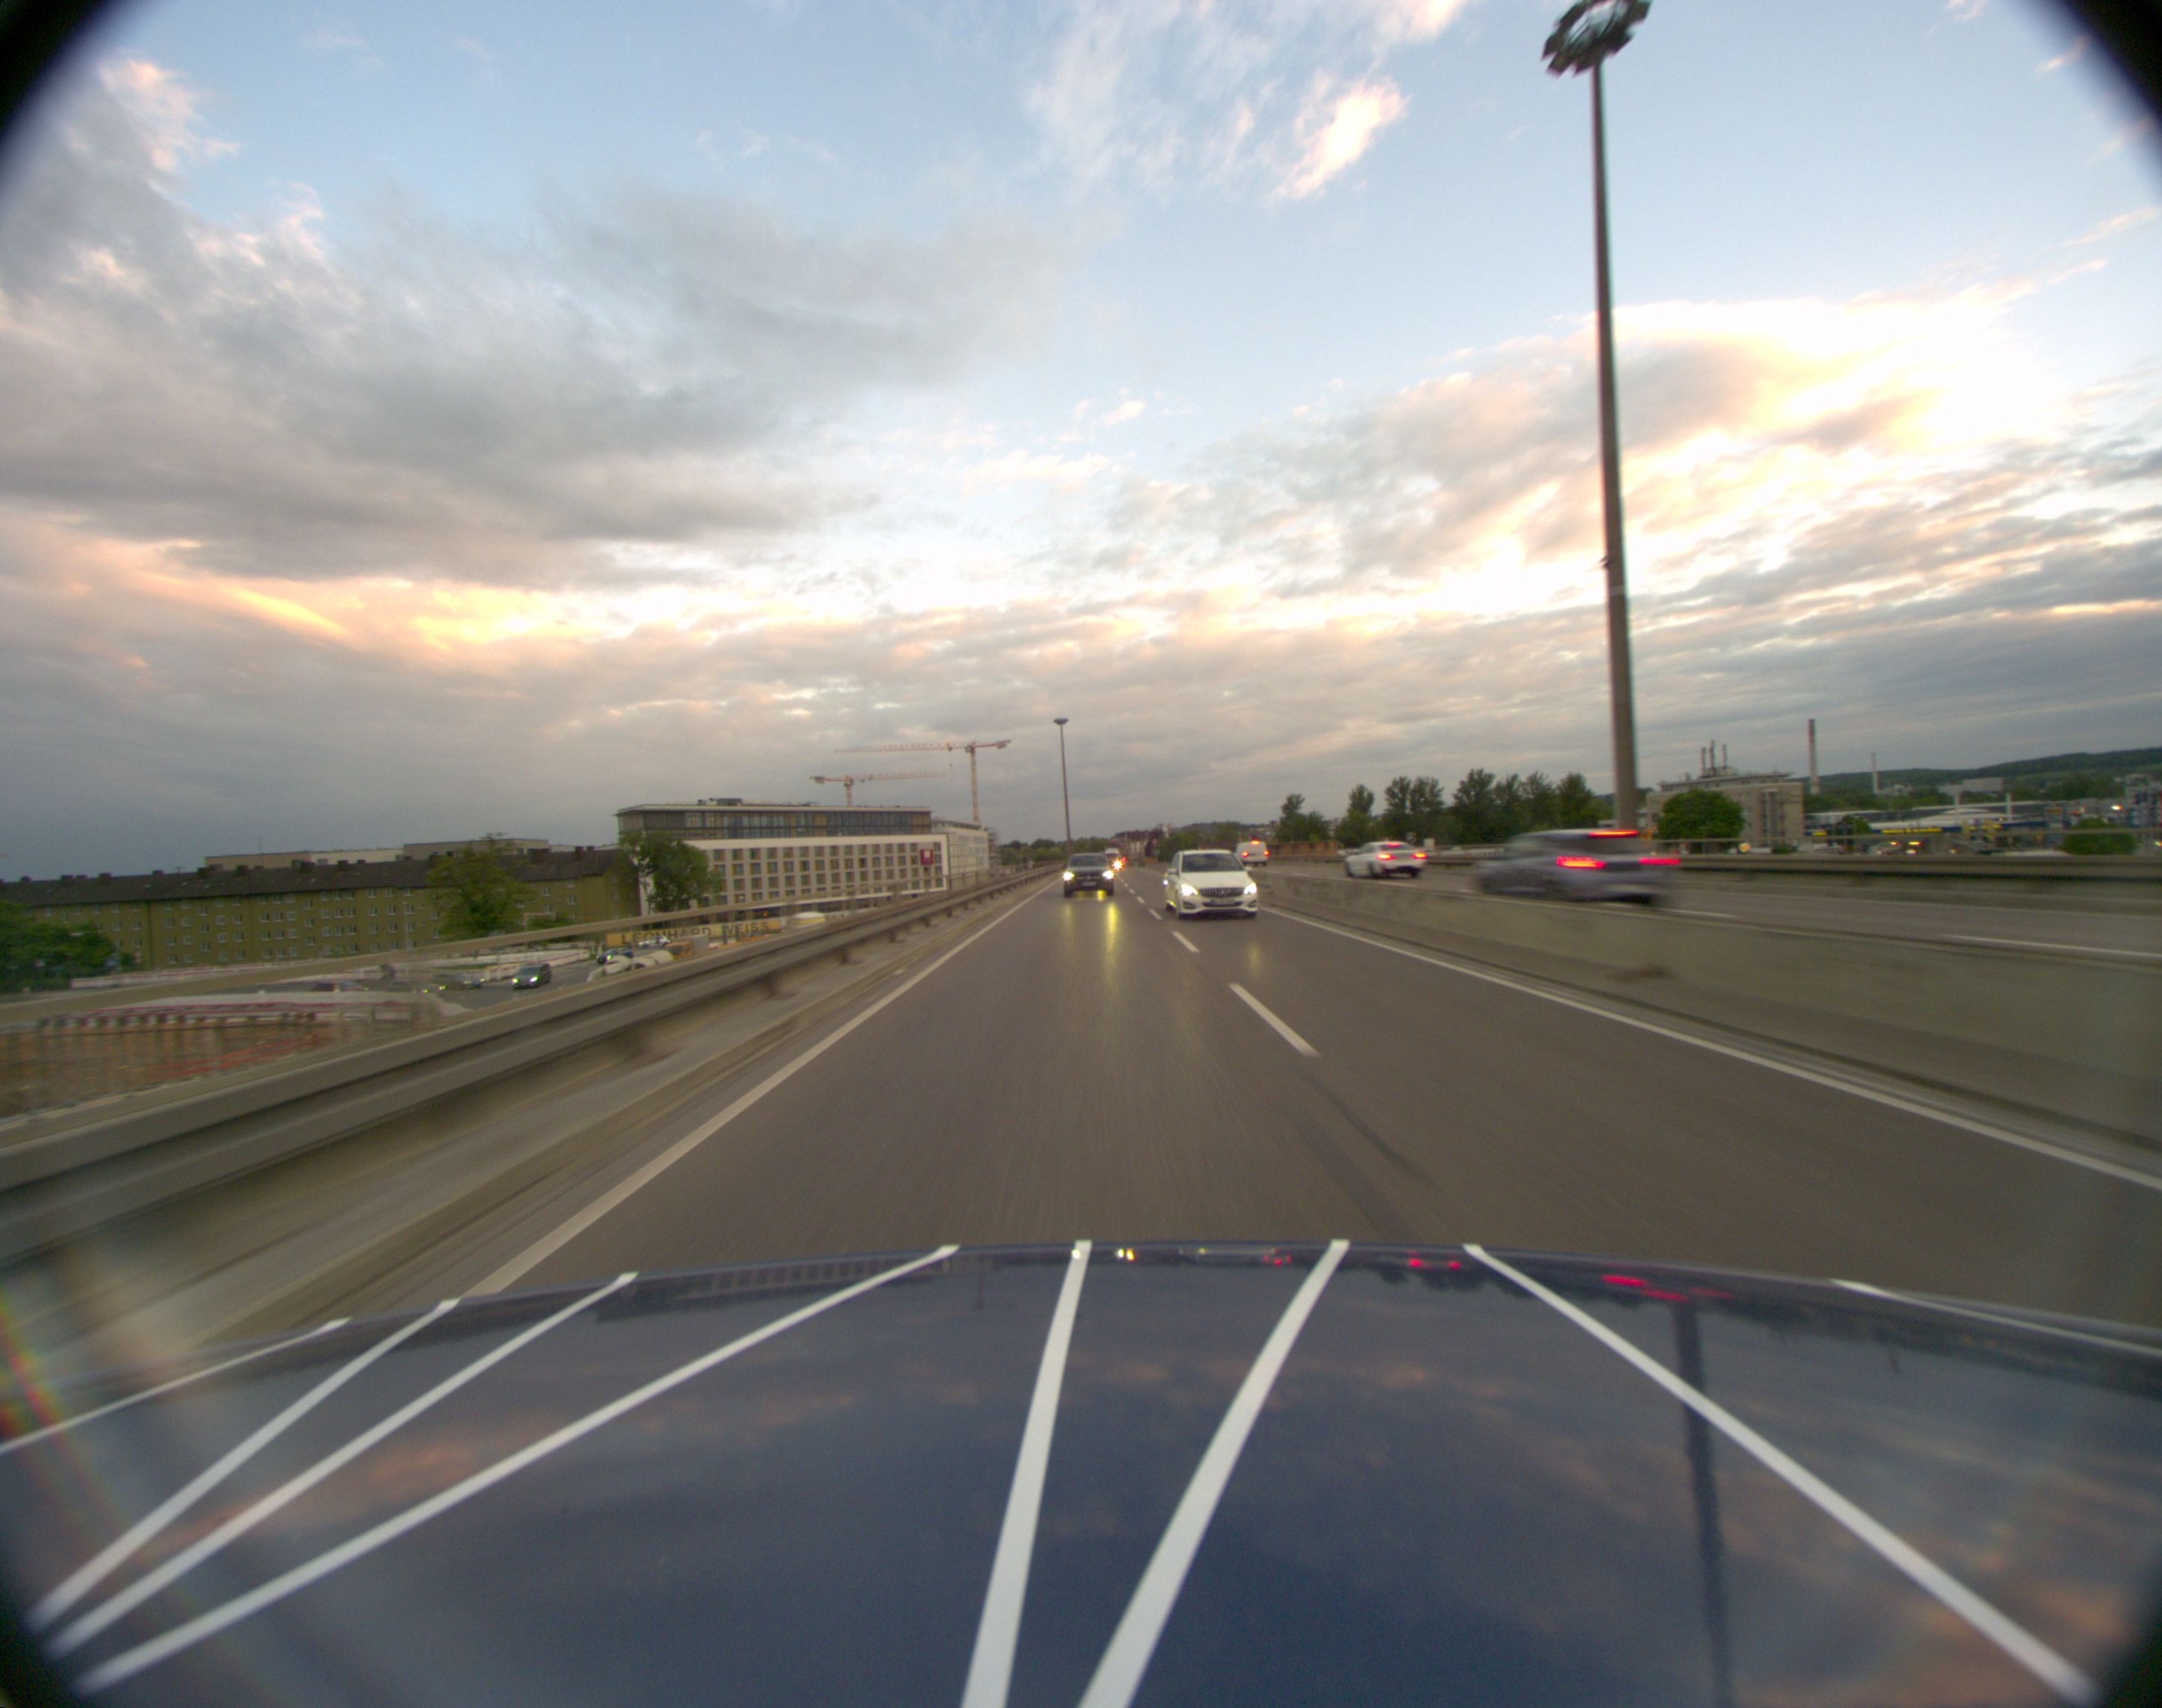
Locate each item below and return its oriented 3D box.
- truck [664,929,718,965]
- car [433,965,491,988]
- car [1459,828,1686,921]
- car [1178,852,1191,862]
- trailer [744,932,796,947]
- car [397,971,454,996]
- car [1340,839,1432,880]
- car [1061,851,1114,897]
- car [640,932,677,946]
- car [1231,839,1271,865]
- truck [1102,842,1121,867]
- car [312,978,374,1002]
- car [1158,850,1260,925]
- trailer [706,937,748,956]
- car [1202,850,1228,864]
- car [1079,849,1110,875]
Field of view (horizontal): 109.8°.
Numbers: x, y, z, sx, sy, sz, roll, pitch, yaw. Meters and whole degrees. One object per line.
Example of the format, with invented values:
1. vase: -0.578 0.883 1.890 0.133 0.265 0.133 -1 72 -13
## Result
1. truck: -42.267 10.061 82.594 2.163 2.930 7.336 -5 -1 -3
2. car: -56.337 11.132 69.179 4.095 1.710 1.804 -2 3 11
3. car: 8.899 0.351 14.202 1.633 1.432 3.835 -2 0 -2
4. car: 16.388 0.445 120.267 1.660 1.584 4.043 -2 1 2
5. trailer: -39.069 10.738 95.568 5.876 1.340 2.024 -2 1 -17
6. car: -55.484 10.965 64.327 3.788 1.729 1.647 -4 1 15
7. car: 12.193 0.193 30.742 1.835 1.494 4.816 -2 0 1
8. car: 0.311 0.741 29.215 1.823 1.602 4.213 -2 0 2
9. car: -57.466 11.618 103.382 4.007 1.433 1.909 -3 -3 -37
10. car: 13.445 -0.150 60.455 1.906 1.889 5.459 -2 0 1
11. truck: 5.614 0.012 138.564 3.165 4.369 8.794 -2 1 4
12. car: -63.537 11.674 65.410 3.763 1.609 1.649 -3 0 4
13. car: 2.992 0.746 18.725 1.695 1.528 4.784 -2 -1 0
14. trailer: -41.960 10.990 90.247 1.998 1.339 5.874 -8 -1 2
15. car: 14.531 0.331 82.529 1.833 1.465 4.901 -2 0 0
16. car: 0.897 0.593 52.775 1.891 1.641 4.344 -3 -1 -1
